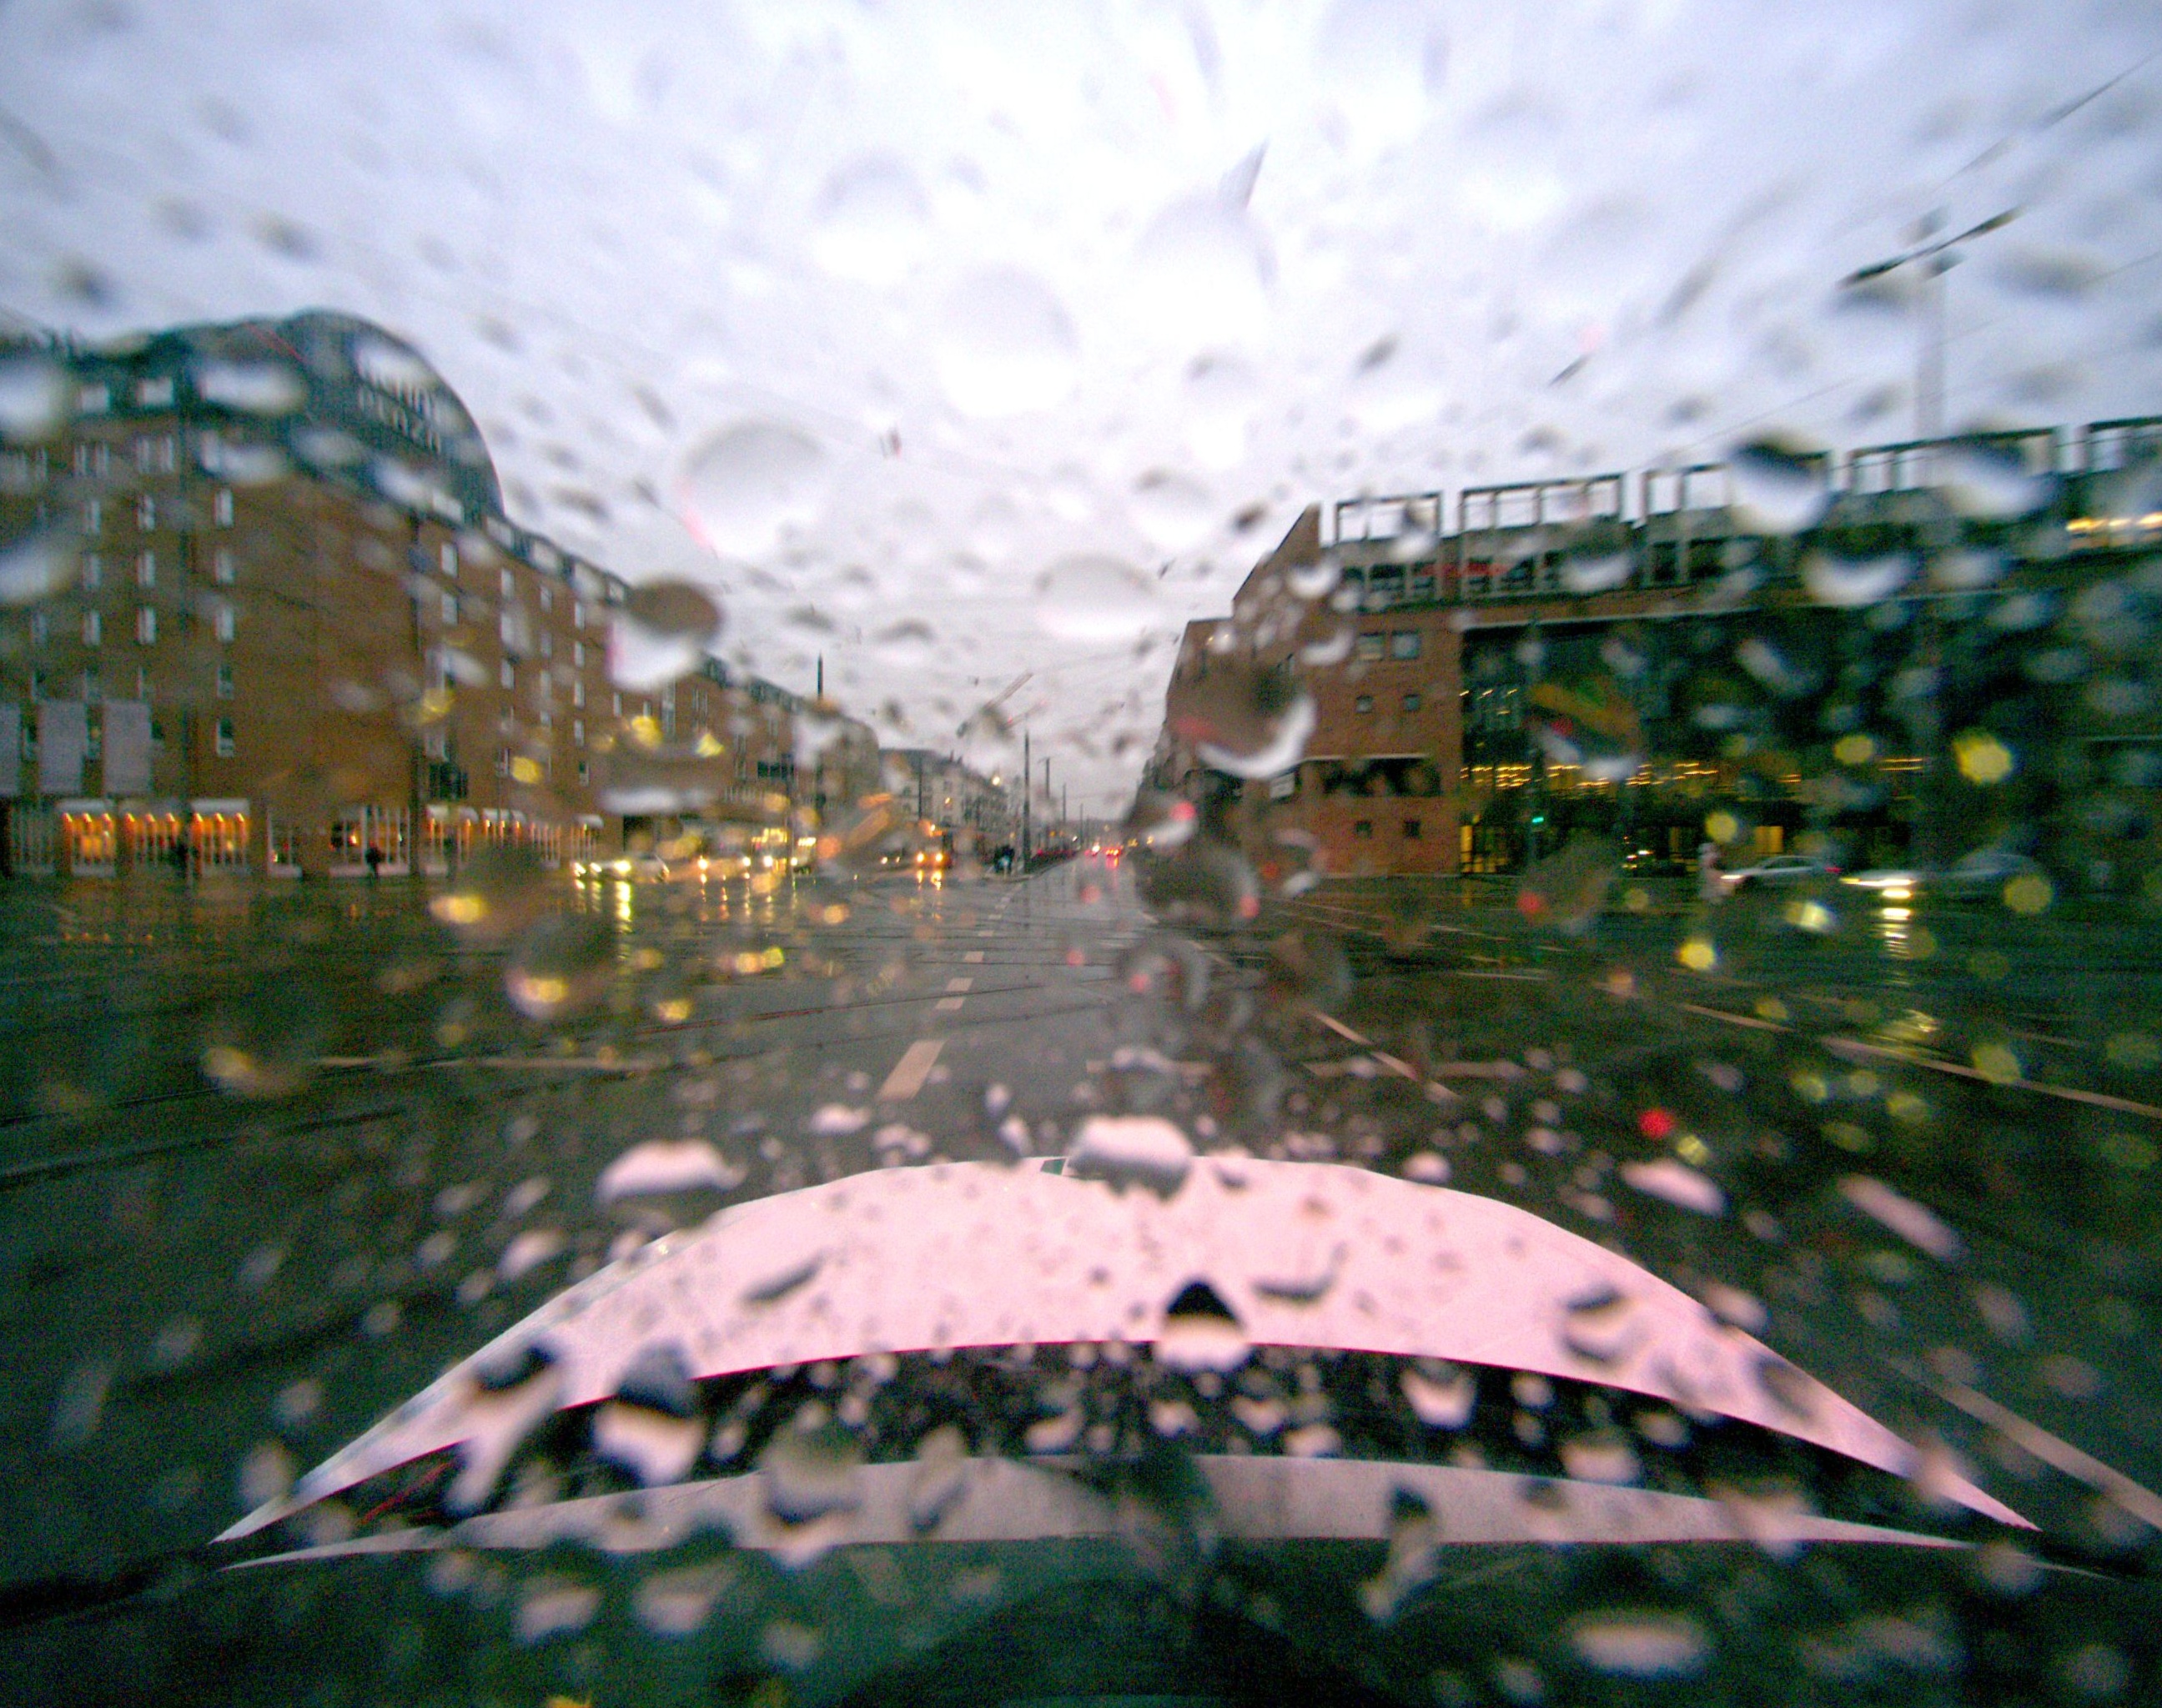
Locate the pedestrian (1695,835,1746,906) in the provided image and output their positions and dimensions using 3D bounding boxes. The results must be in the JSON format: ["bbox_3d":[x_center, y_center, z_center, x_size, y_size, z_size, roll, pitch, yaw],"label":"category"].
[{"bbox_3d":[16.370,0.406,20.858,0.731,1.787,0.734,0,0,-1],"label":"pedestrian"}]

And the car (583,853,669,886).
[{"bbox_3d":[-22.141,0.717,39.841,1.661,1.495,4.205,0,0,3],"label":"car"}]

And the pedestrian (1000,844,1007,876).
[{"bbox_3d":[-4.475,0.346,46.797,0.359,1.786,0.439,0,0,-3],"label":"pedestrian"}]

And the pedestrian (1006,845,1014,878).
[{"bbox_3d":[-4.135,0.429,47.206,0.411,1.845,0.669,0,0,-3],"label":"pedestrian"}]

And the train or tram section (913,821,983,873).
[{"bbox_3d":[-10.264,-0.534,64.587,2.938,3.589,12.263,2,0,3],"label":"train or tram section"}]

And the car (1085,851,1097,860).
[{"bbox_3d":[1.726,0.260,136.918,1.776,1.467,3.152,0,0,4],"label":"car"}]

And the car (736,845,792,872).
[{"bbox_3d":[-21.602,0.284,55.663,1.822,1.709,4.707,0,0,2],"label":"car"}]

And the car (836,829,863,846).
[{"bbox_3d":[-28.653,-2.037,100.786,1.986,2.013,4.002,2,0,2],"label":"car"}]

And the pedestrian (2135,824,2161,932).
[{"bbox_3d":[18.437,0.400,13.657,1.155,1.787,0.770,0,0,-29],"label":"pedestrian"}]

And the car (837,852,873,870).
[{"bbox_3d":[-17.611,0.535,63.560,1.676,1.354,3.547,1,0,1],"label":"car"}]

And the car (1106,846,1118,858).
[{"bbox_3d":[5.330,-0.339,139.470,1.985,2.013,4.005,0,0,4],"label":"car"}]

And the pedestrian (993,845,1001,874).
[{"bbox_3d":[-4.991,0.338,48.574,0.432,1.735,0.473,0,0,-3],"label":"pedestrian"}]

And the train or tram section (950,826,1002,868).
[{"bbox_3d":[-9.660,-0.656,76.444,2.913,3.578,11.042,2,0,3],"label":"train or tram section"}]

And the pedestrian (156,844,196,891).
[{"bbox_3d":[-39.618,0.567,35.659,0.936,2.013,0.754,0,0,-21],"label":"pedestrian"}]

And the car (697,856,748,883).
[{"bbox_3d":[-24.423,1.021,55.653,1.677,1.709,3.857,0,0,2],"label":"car"}]

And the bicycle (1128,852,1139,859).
[{"bbox_3d":[8.526,0.267,132.307,1.724,1.055,0.371,-1,0,0],"label":"bicycle"}]

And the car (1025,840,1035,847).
[{"bbox_3d":[-10.069,-2.080,160.769,1.676,1.354,3.547,1,0,1],"label":"car"}]

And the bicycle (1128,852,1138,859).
[{"bbox_3d":[8.484,0.266,132.792,1.724,1.055,0.371,-1,0,0],"label":"bicycle"}]

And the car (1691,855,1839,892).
[{"bbox_3d":[25.548,0.696,30.543,3.963,1.310,1.816,0,0,4],"label":"car"}]

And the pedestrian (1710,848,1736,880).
[{"bbox_3d":[28.015,0.437,35.565,0.730,1.389,0.741,0,0,23],"label":"pedestrian"}]

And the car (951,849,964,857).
[{"bbox_3d":[-21.499,-0.110,141.961,1.676,1.354,3.547,1,0,1],"label":"car"}]

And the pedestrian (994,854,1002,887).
[{"bbox_3d":[-4.991,0.967,49.152,0.432,1.967,0.473,0,0,-3],"label":"pedestrian"}]

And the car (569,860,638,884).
[{"bbox_3d":[-29.200,1.084,49.954,1.605,1.321,4.231,0,0,3],"label":"car"}]

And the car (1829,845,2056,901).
[{"bbox_3d":[22.794,0.491,21.688,3.962,1.341,1.817,-2,0,4],"label":"car"}]

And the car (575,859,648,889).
[{"bbox_3d":[-24.717,1.016,42.998,1.575,1.495,3.599,0,0,3],"label":"car"}]
